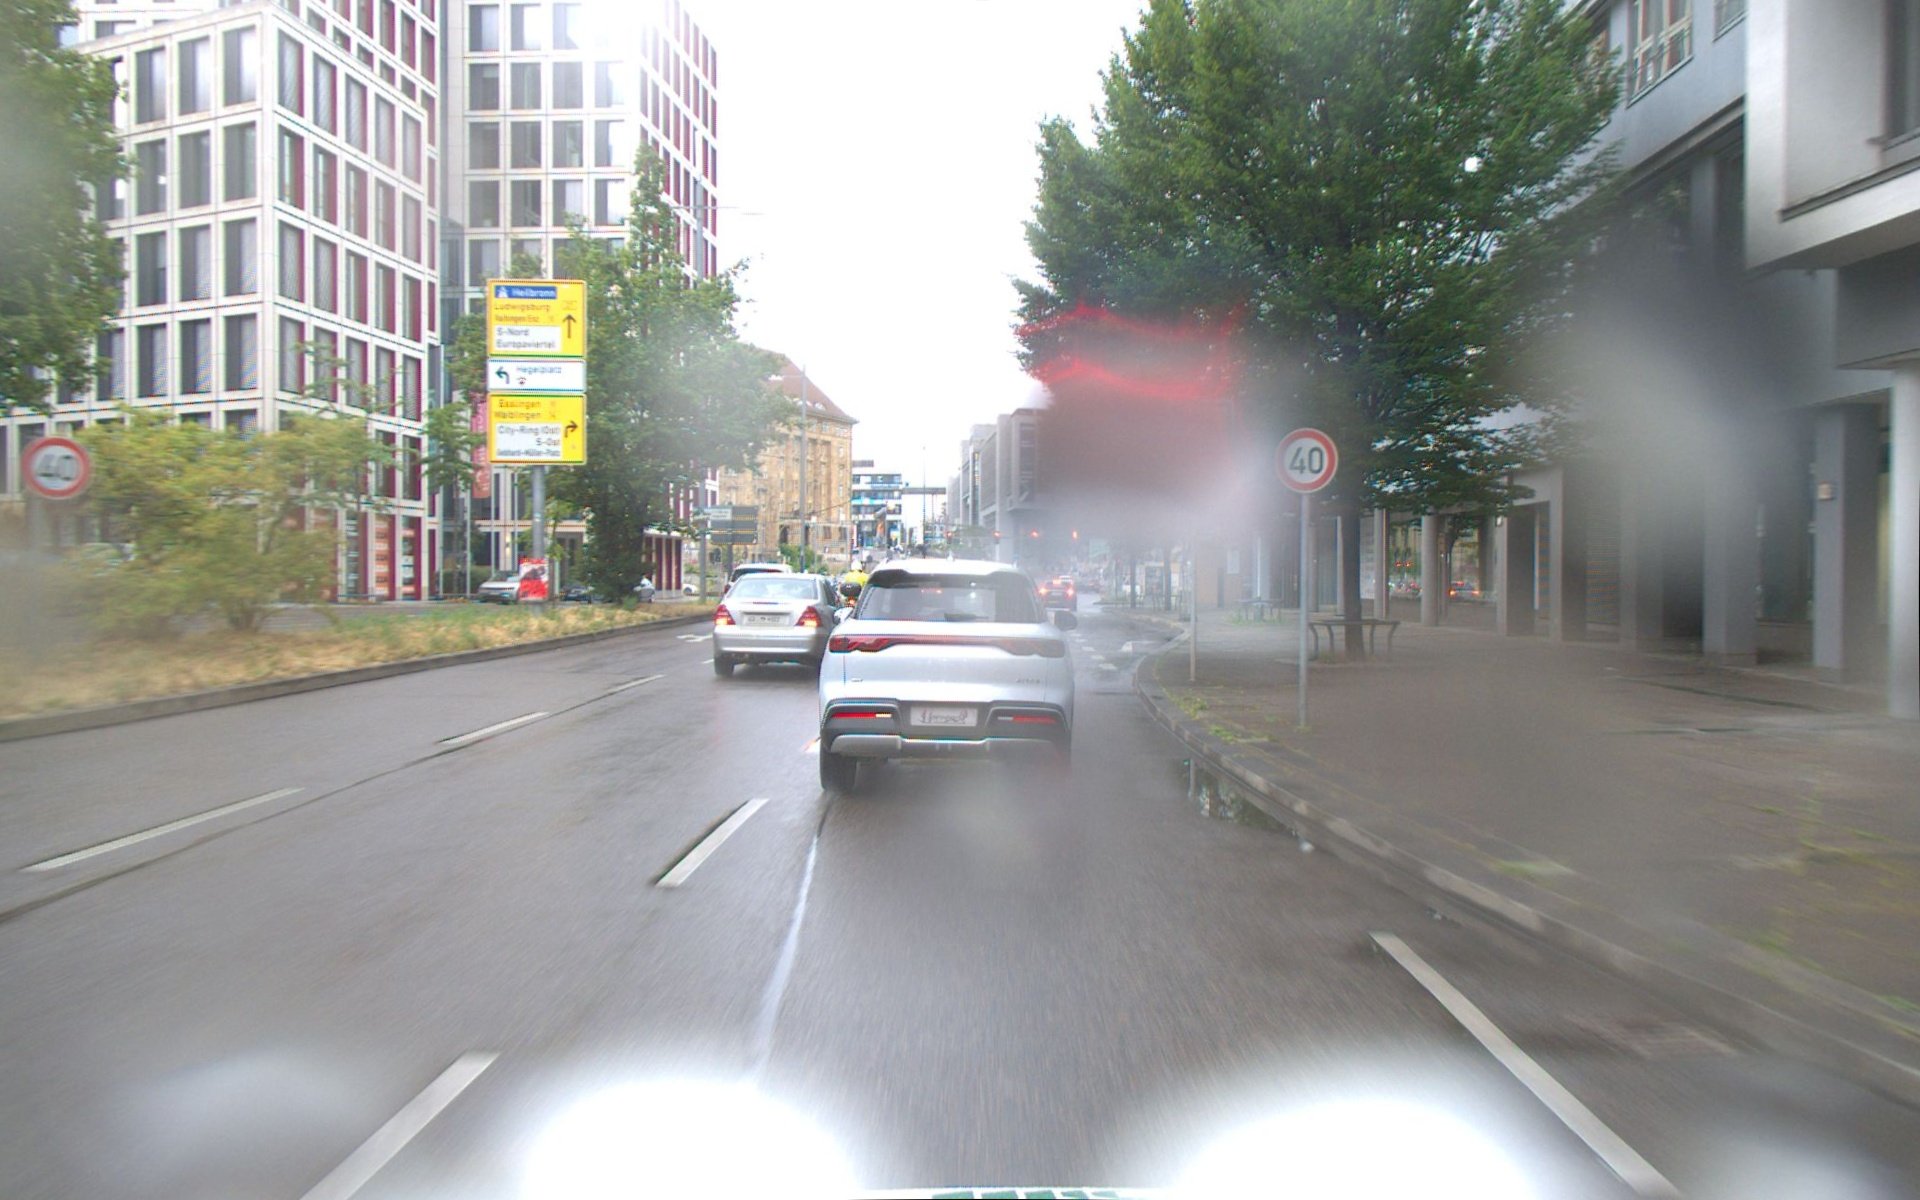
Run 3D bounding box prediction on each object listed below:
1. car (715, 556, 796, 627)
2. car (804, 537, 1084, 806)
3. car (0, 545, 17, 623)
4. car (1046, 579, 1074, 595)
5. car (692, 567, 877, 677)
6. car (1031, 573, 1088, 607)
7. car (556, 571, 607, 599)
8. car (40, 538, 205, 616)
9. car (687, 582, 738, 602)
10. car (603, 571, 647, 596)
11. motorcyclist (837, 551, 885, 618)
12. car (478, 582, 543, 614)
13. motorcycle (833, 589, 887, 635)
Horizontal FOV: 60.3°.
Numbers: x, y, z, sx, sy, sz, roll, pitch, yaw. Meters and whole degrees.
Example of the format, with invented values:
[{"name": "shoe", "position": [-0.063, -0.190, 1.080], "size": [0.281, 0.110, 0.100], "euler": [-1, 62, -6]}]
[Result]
[{"name": "car", "position": [-5.071, -0.184, 41.406], "size": [1.698, 1.644, 3.997], "euler": [2, 0, -3]}, {"name": "car", "position": [-0.078, 0.477, 12.786], "size": [1.771, 1.690, 4.171], "euler": [1, 0, 1]}, {"name": "car", "position": [-21.330, -0.334, 33.334], "size": [1.952, 1.646, 4.483], "euler": [1, 1, 2]}, {"name": "car", "position": [11.774, -1.499, 195.221], "size": [1.962, 1.847, 3.981], "euler": [2, 0, -17]}, {"name": "car", "position": [-2.466, 0.311, 24.316], "size": [1.696, 1.428, 4.386], "euler": [1, 0, 7]}, {"name": "car", "position": [4.940, -0.492, 81.726], "size": [1.851, 1.571, 3.995], "euler": [1, 0, 18]}, {"name": "car", "position": [-20.492, -0.808, 89.697], "size": [1.662, 1.449, 3.957], "euler": [-1, 0, 3]}, {"name": "car", "position": [-23.709, -0.595, 47.051], "size": [1.952, 2.049, 4.917], "euler": [1, 0, 2]}, {"name": "car", "position": [-22.308, -0.685, 149.009], "size": [4.305, 1.691, 1.993], "euler": [2, -1, -13]}, {"name": "car", "position": [-20.077, -0.990, 99.223], "size": [1.662, 1.449, 3.957], "euler": [-1, 0, 3]}, {"name": "motorcyclist", "position": [-2.288, -0.356, 38.309], "size": [0.921, 1.501, 1.101], "euler": [1, -1, 4]}, {"name": "car", "position": [-21.173, -0.090, 78.123], "size": [1.662, 1.449, 4.375], "euler": [-1, 0, 3]}, {"name": "motorcycle", "position": [-2.291, 0.262, 38.274], "size": [0.922, 1.006, 2.295], "euler": [1, 0, 4]}]
